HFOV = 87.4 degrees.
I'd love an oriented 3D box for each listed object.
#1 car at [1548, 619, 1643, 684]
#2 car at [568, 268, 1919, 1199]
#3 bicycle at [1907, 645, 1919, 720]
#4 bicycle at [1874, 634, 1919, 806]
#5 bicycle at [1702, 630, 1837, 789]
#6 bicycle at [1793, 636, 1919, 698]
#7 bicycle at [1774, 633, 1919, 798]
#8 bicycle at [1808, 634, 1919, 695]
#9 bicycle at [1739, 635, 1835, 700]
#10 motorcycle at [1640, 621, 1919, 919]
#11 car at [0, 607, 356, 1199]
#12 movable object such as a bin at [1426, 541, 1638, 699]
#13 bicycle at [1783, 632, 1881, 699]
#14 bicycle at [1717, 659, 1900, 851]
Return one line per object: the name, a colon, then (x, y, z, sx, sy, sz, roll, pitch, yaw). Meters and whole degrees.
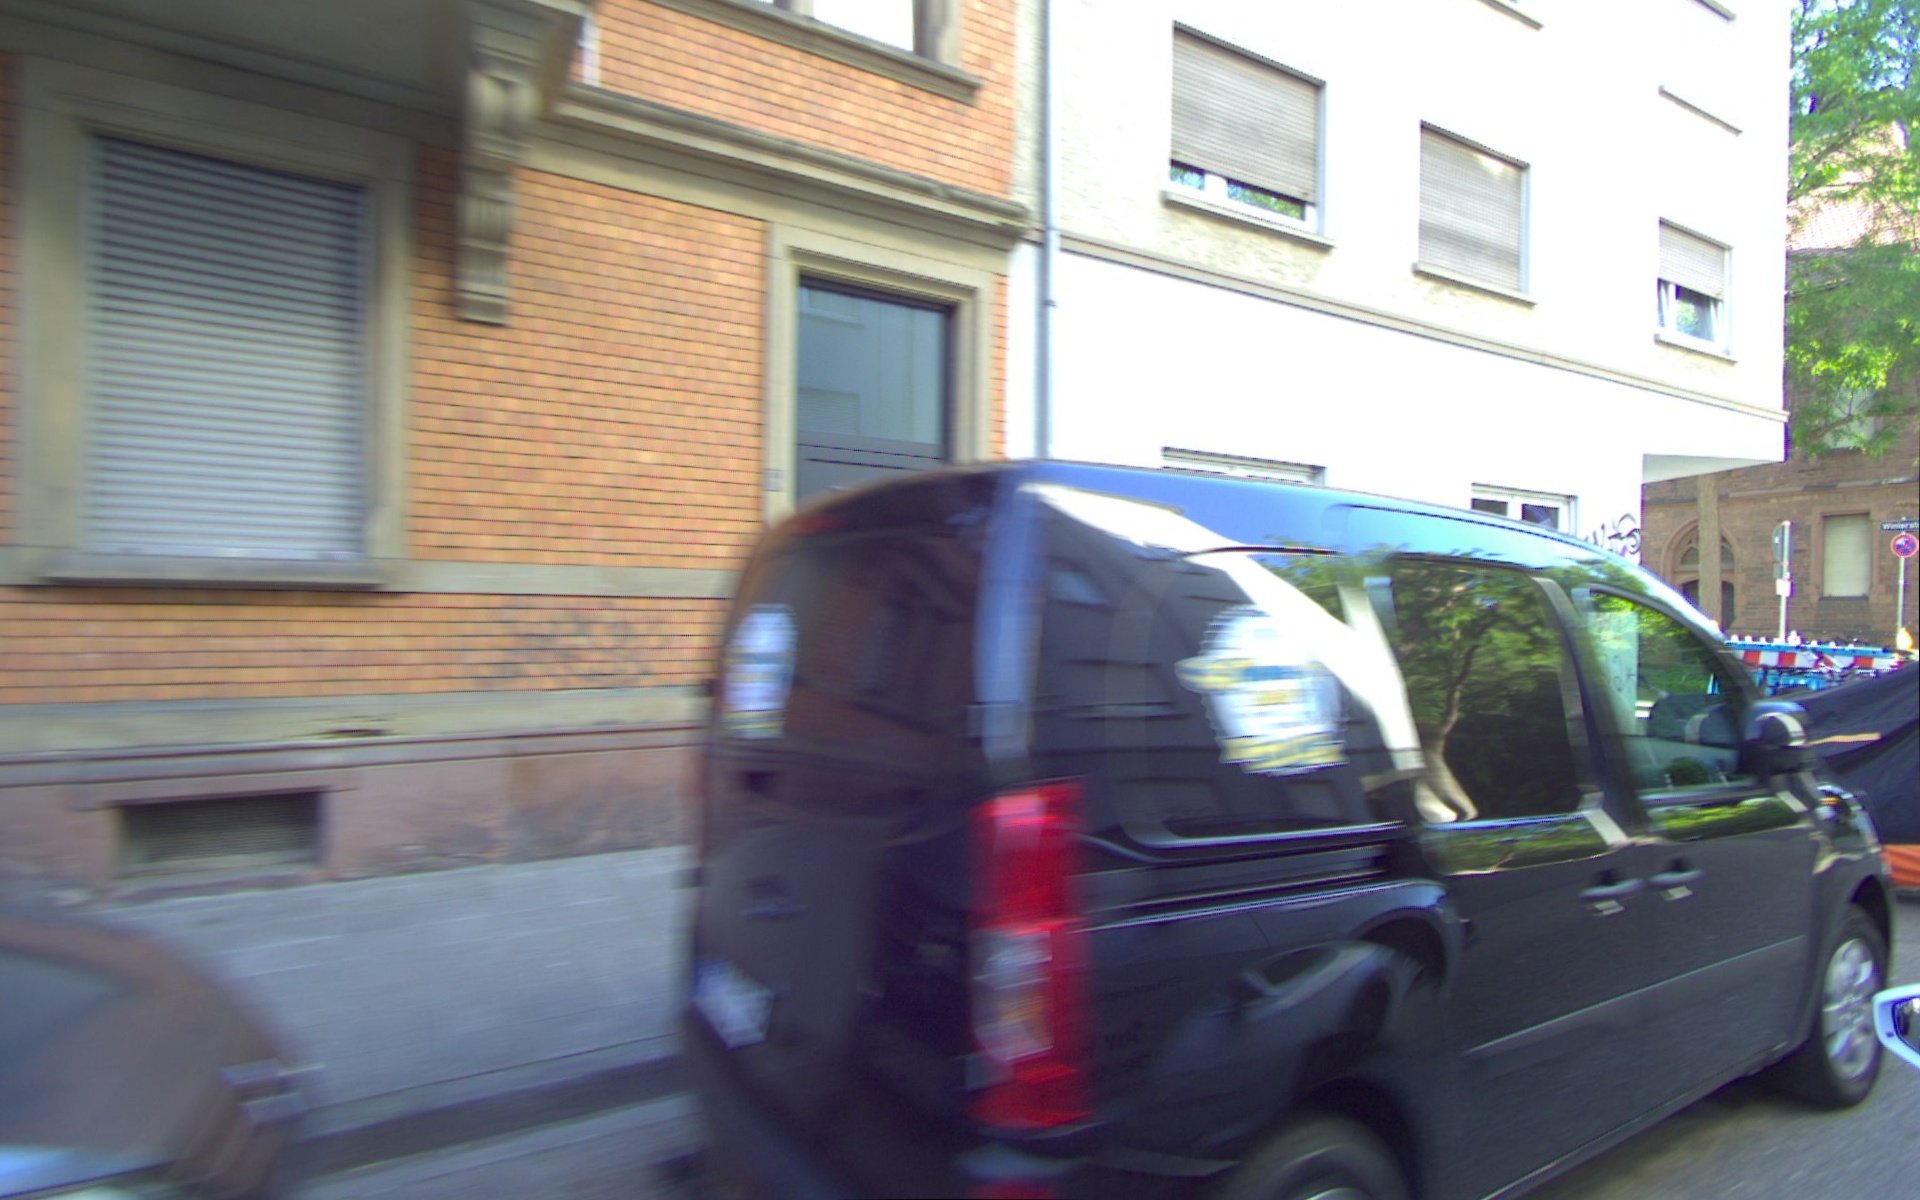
car: (16.353, 1.256, 25.762, 1.830, 1.503, 4.257, 0, -1, 36)
car: (1.264, 0.575, 3.027, 4.289, 1.789, 1.808, 1, -1, -33)
bicycle: (18.604, 1.499, 18.734, 2.415, 1.338, 0.680, -1, 0, -29)
bicycle: (7.783, 0.896, 7.986, 1.680, 1.244, 0.293, -1, 0, -31)
bicycle: (7.199, 0.917, 8.903, 1.796, 1.244, 0.397, -1, 0, -33)
bicycle: (18.876, 1.378, 21.136, 0.676, 1.196, 1.954, -1, 0, -28)
bicycle: (7.719, 0.944, 8.682, 2.006, 1.244, 0.397, -1, 0, -31)
bicycle: (19.498, 1.353, 21.487, 0.676, 1.196, 1.955, -1, 0, -28)
bicycle: (17.025, 1.362, 20.668, 2.414, 1.196, 0.680, -1, 0, -29)
motorcycle: (5.233, 0.891, 5.496, 2.478, 1.502, 0.901, 1, 0, 34)
car: (-2.676, 0.737, 0.894, 3.602, 1.469, 1.669, 1, 0, -30)
movable object such as a bin: (10.455, 0.361, 18.512, 2.042, 2.635, 2.744, 1, -1, -25)
bicycle: (17.381, 1.271, 20.010, 2.414, 1.196, 0.680, -1, 0, -29)
bicycle: (6.068, 1.031, 7.147, 1.853, 1.171, 0.543, 1, -1, -35)
